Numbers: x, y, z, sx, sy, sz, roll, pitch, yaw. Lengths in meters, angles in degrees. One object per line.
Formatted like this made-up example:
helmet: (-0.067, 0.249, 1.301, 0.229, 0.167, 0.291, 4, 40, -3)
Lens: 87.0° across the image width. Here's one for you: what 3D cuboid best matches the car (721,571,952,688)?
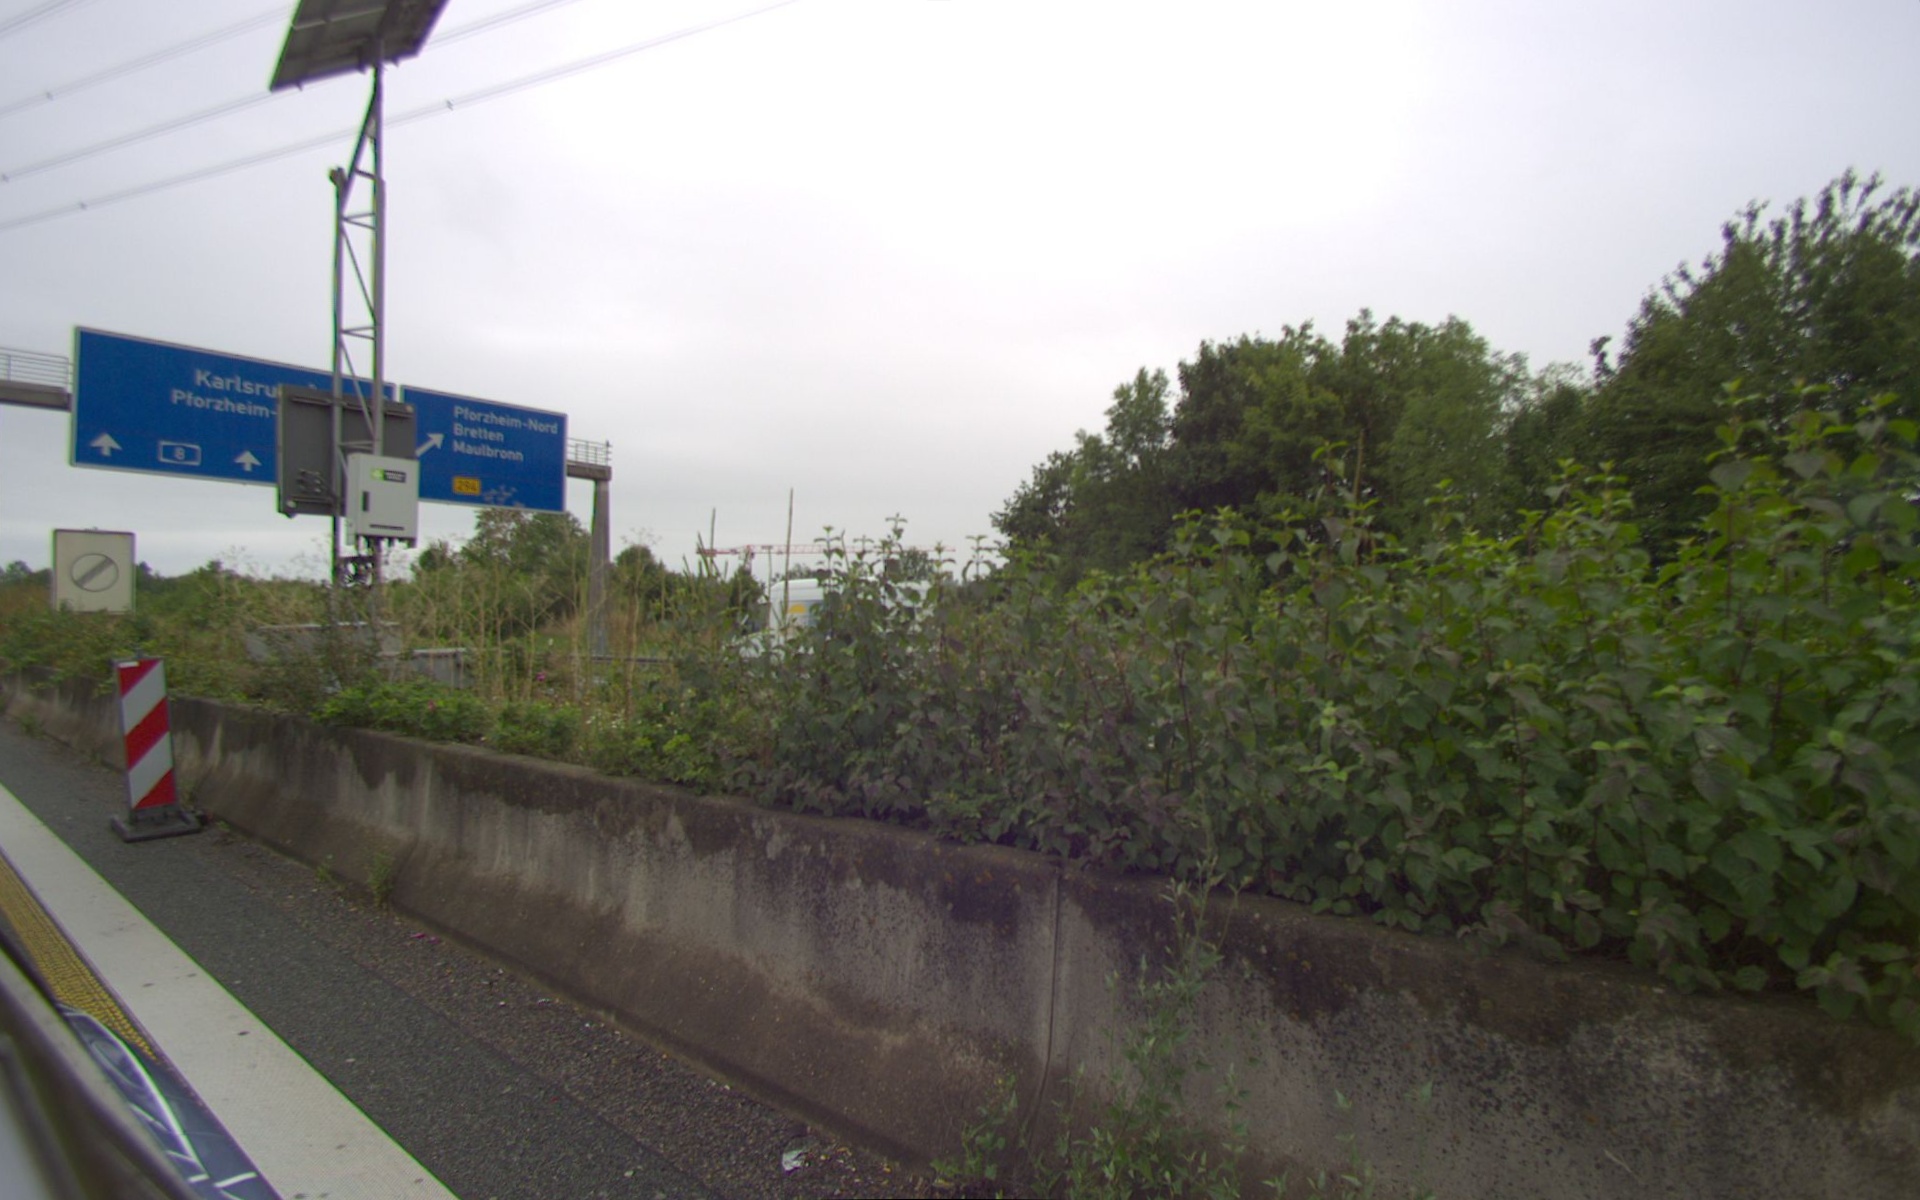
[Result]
car: (-2.839, 0.623, 22.345, 5.201, 2.282, 2.157, -1, -1, 41)
